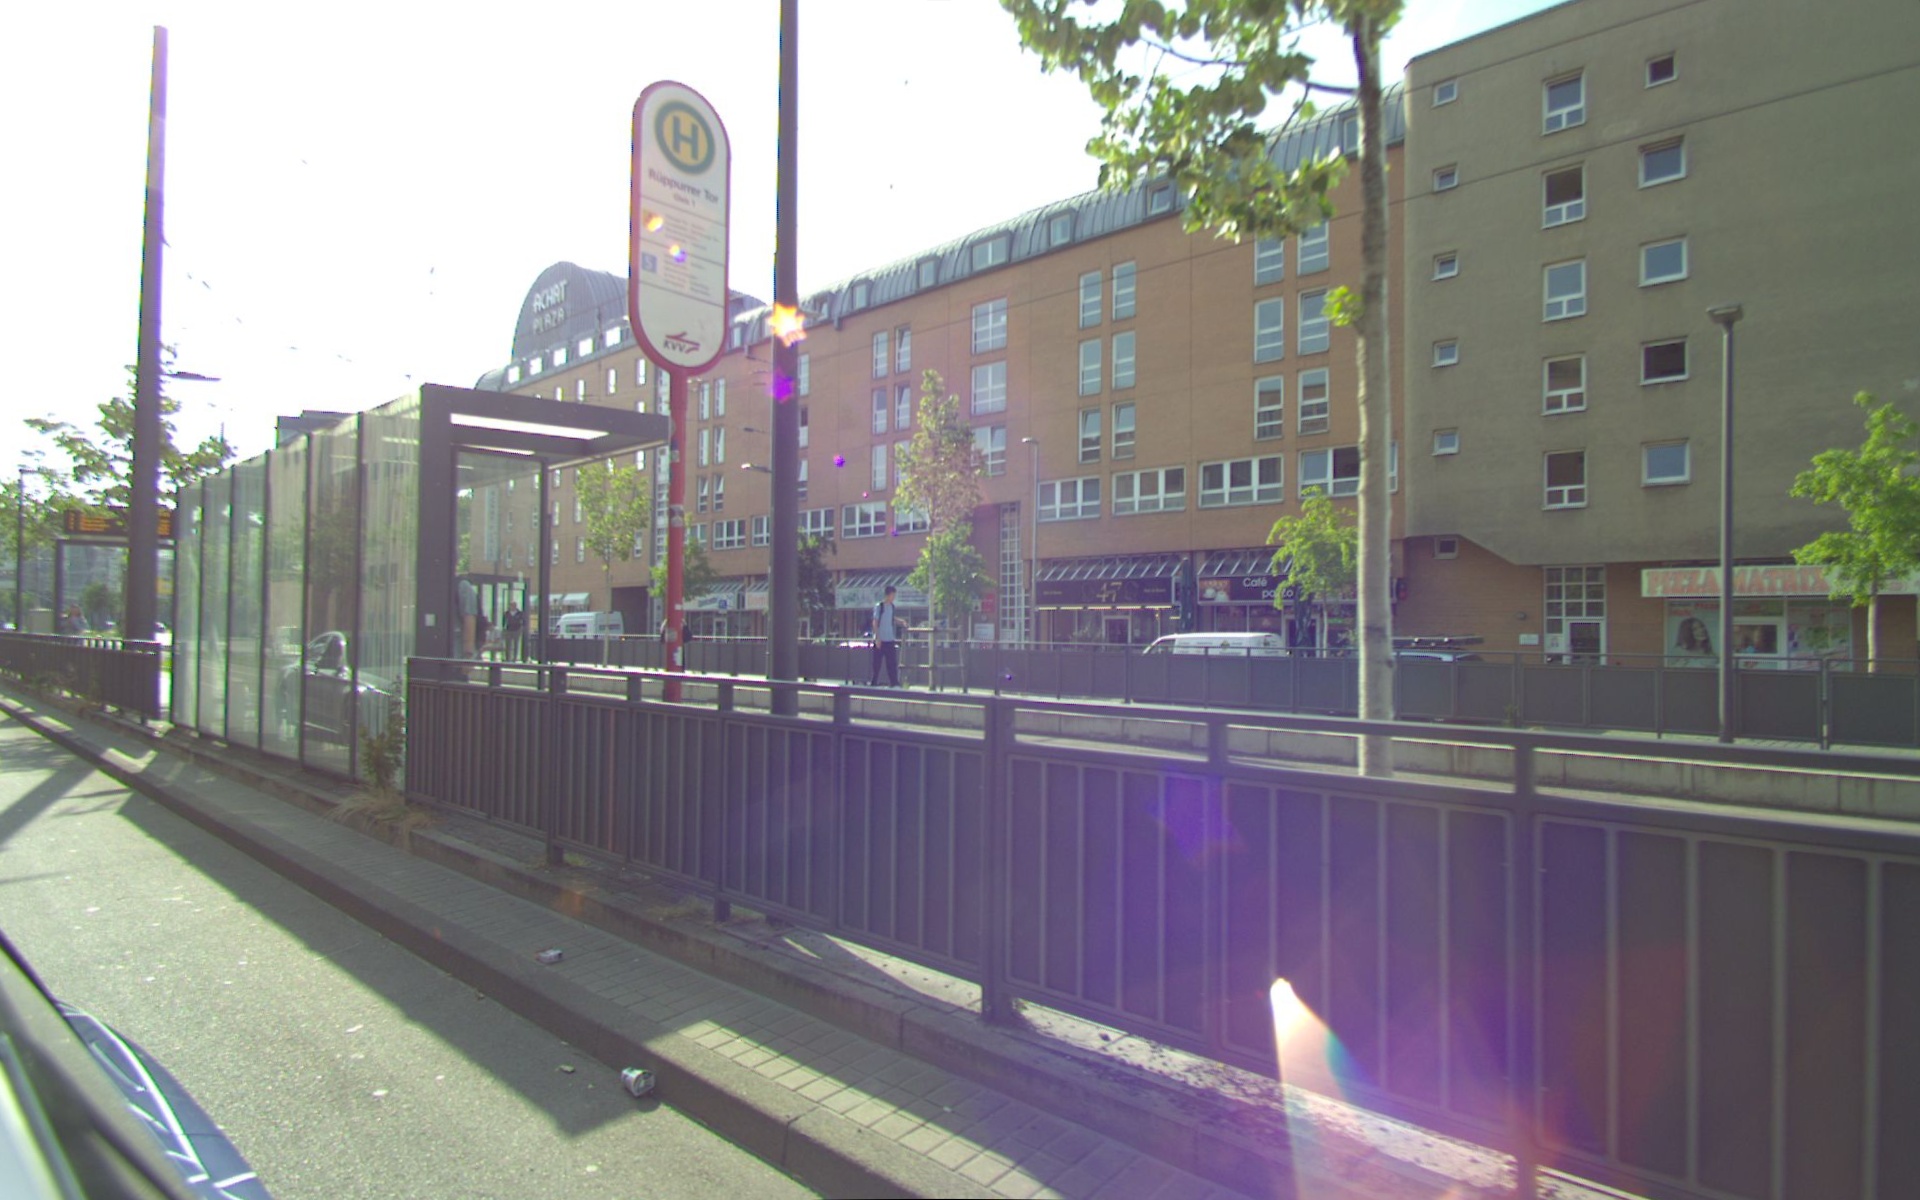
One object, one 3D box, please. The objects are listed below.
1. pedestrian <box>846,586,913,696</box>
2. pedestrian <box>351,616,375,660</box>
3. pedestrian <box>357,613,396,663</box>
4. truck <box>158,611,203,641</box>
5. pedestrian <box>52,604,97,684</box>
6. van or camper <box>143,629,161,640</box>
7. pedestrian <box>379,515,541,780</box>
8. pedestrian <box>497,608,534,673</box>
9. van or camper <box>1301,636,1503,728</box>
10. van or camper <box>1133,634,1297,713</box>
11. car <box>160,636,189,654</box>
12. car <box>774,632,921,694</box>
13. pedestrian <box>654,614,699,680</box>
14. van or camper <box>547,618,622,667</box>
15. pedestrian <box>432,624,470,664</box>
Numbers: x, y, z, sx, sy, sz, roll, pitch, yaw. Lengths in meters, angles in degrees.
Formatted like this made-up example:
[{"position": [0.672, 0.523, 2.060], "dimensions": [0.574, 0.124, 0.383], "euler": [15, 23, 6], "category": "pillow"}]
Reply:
[{"position": [-1.437, 0.724, 18.058], "dimensions": [0.940, 1.886, 0.730], "euler": [-2, -3, 45], "category": "pedestrian"}, {"position": [-24.274, 1.533, 41.140], "dimensions": [0.698, 1.774, 0.644], "euler": [-1, 0, 43], "category": "pedestrian"}, {"position": [-21.041, 1.380, 36.496], "dimensions": [0.825, 1.760, 0.784], "euler": [1, -3, 6], "category": "pedestrian"}, {"position": [-103.474, 3.468, 134.268], "dimensions": [3.124, 3.805, 12.366], "euler": [3, -3, -45], "category": "truck"}, {"position": [-20.191, 0.982, 23.079], "dimensions": [0.727, 1.771, 0.666], "euler": [-1, 0, 41], "category": "pedestrian"}, {"position": [-122.481, 5.208, 153.470], "dimensions": [1.815, 1.564, 4.010], "euler": [2, -3, -34], "category": "van or camper"}, {"position": [-4.143, 0.365, 8.384], "dimensions": [1.027, 2.029, 0.825], "euler": [-1, 0, 39], "category": "pedestrian"}, {"position": [-13.111, 1.191, 29.839], "dimensions": [0.553, 1.901, 0.798], "euler": [-1, -2, 33], "category": "pedestrian"}, {"position": [10.471, 1.861, 24.154], "dimensions": [1.907, 1.983, 4.003], "euler": [2, -3, -43], "category": "van or camper"}, {"position": [7.027, 1.957, 28.142], "dimensions": [1.970, 2.029, 4.004], "euler": [2, -3, -43], "category": "van or camper"}, {"position": [-88.121, 5.025, 113.538], "dimensions": [4.001, 2.029, 1.971], "euler": [-1, -3, 44], "category": "car"}, {"position": [-3.615, 1.936, 31.964], "dimensions": [4.629, 1.819, 1.973], "euler": [-1, -3, 40], "category": "car"}, {"position": [-6.790, 1.116, 24.289], "dimensions": [0.803, 1.542, 0.675], "euler": [0, -2, 11], "category": "pedestrian"}, {"position": [-22.656, 2.511, 60.905], "dimensions": [5.352, 2.823, 1.972], "euler": [-1, -3, 43], "category": "van or camper"}, {"position": [-17.093, 1.473, 33.978], "dimensions": [0.808, 1.324, 0.860], "euler": [-1, -3, 39], "category": "pedestrian"}]
